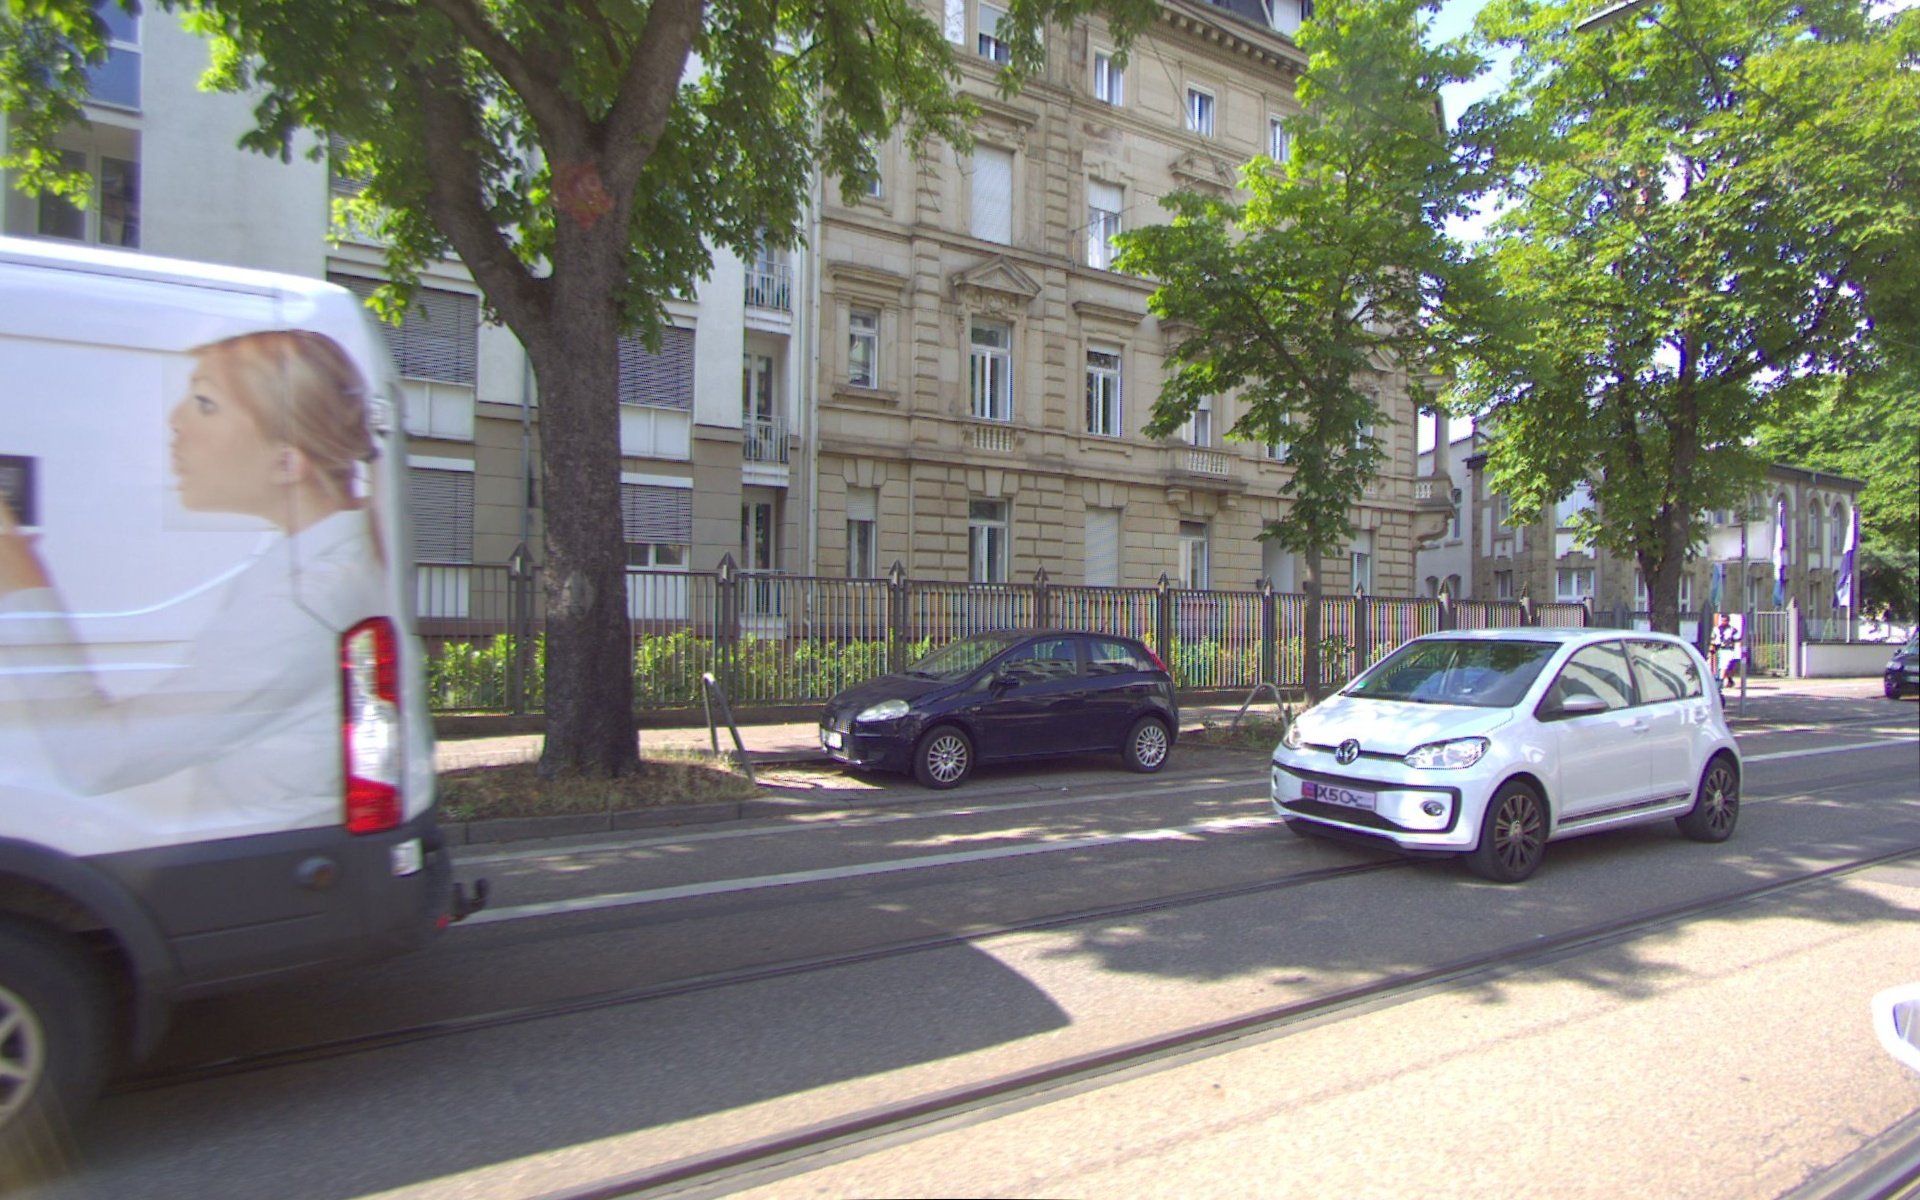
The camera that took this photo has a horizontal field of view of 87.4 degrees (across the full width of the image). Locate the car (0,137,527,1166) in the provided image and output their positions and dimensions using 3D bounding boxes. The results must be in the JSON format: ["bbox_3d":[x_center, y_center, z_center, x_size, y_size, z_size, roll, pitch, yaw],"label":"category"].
[{"bbox_3d":[-4.611,0.117,2.528,6.286,2.541,2.305,1,-1,-30],"label":"car"}]

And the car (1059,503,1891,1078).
[{"bbox_3d":[3.911,0.919,7.089,6.291,2.541,2.304,1,-1,-31],"label":"car"}]

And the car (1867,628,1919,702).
[{"bbox_3d":[23.963,1.578,24.285,4.282,1.663,1.797,2,1,-31],"label":"car"}]

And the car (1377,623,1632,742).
[{"bbox_3d":[8.236,1.187,15.126,3.765,1.504,1.646,2,1,-31],"label":"car"}]

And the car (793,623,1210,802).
[{"bbox_3d":[0.491,1.034,10.580,4.153,1.492,1.619,1,1,-29],"label":"car"}]

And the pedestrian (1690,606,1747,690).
[{"bbox_3d":[19.240,1.206,25.485,0.816,2.040,0.820,2,1,-30],"label":"pedestrian"}]
